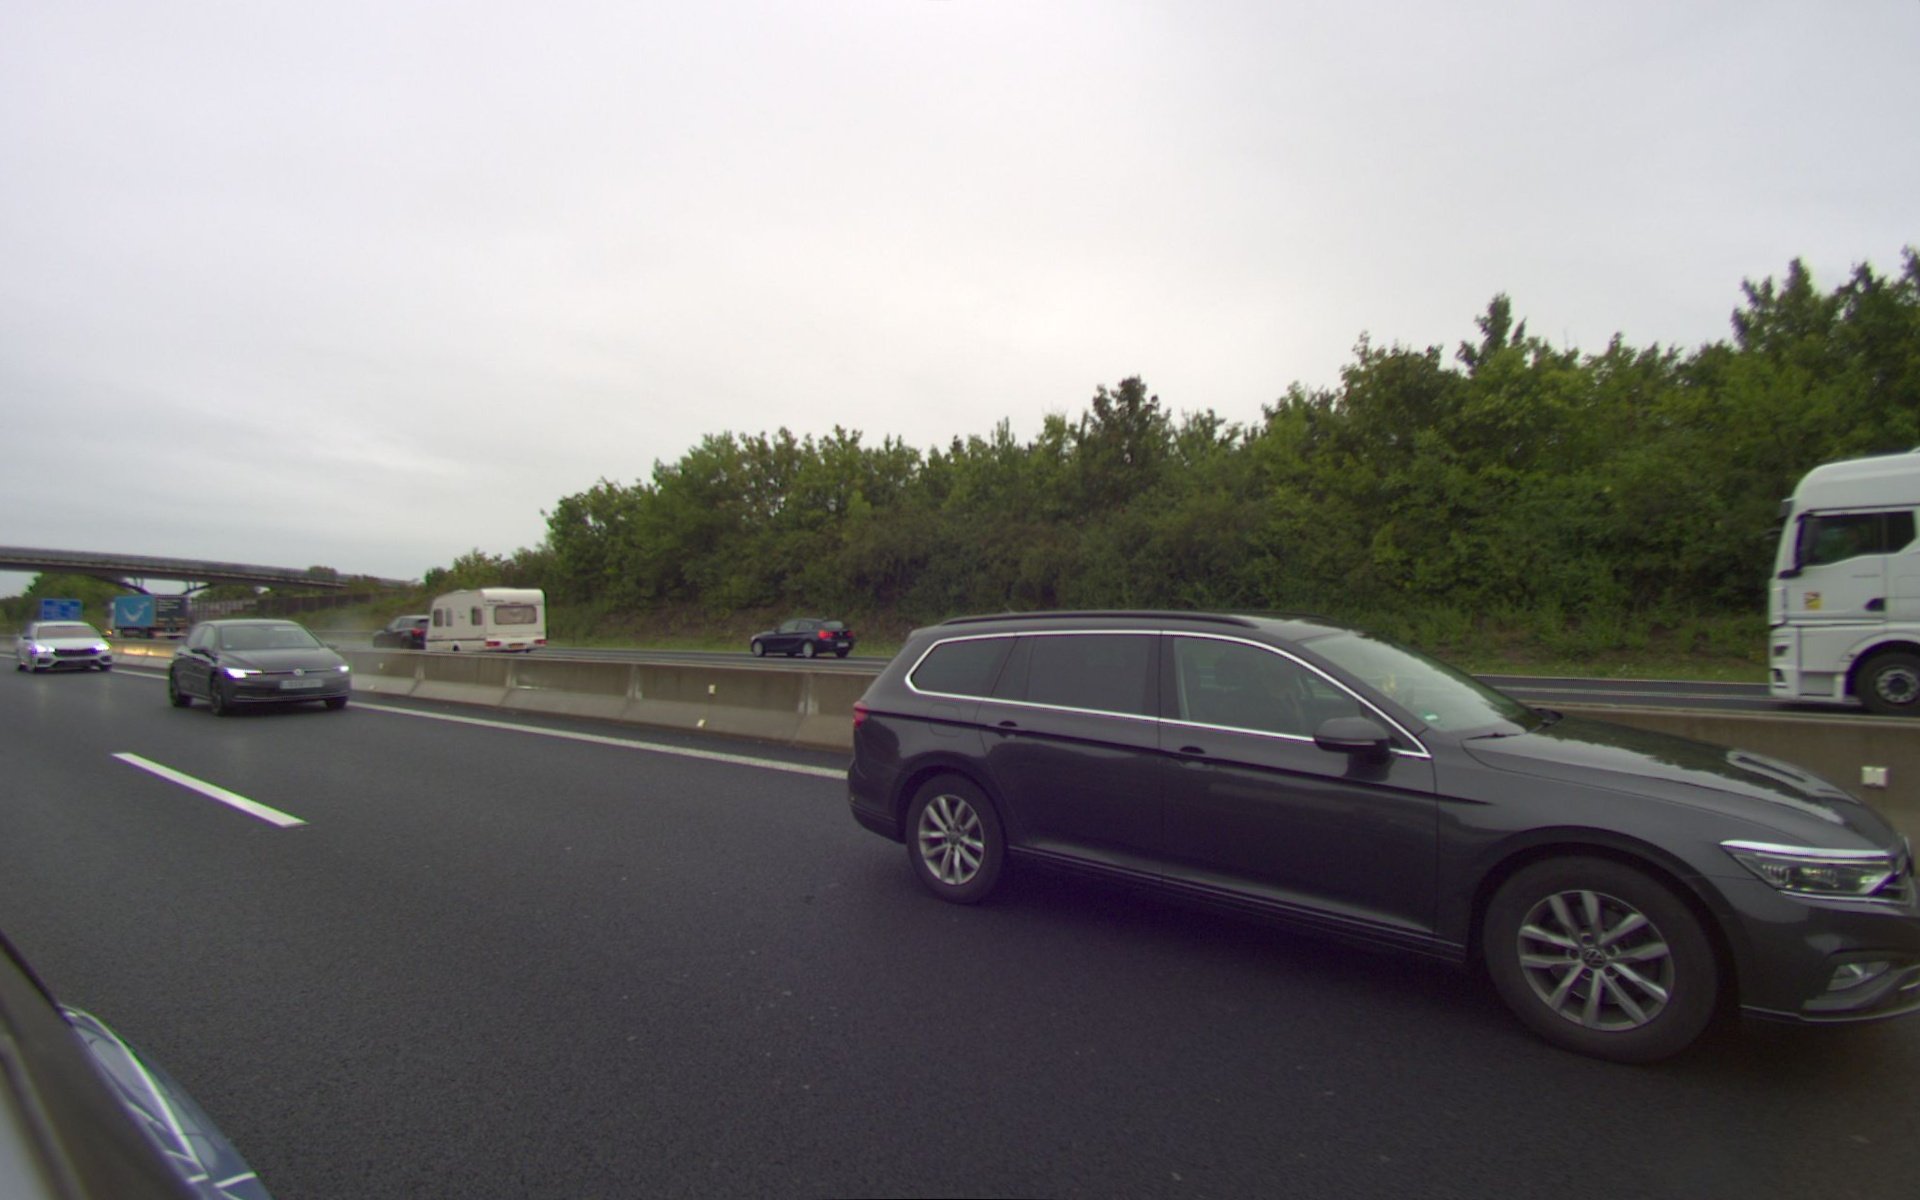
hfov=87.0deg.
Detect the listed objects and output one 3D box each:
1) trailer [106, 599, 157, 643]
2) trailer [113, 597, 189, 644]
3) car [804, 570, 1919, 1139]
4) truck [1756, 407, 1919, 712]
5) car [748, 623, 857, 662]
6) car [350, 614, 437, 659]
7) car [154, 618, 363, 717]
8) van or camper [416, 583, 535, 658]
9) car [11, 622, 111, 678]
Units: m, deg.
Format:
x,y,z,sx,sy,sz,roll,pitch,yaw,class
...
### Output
x,y,z,sx,sy,sz,roll,pitch,yaw,class
-80.711,2.062,98.574,6.036,4.114,2.762,-1,-2,39,trailer
-75.426,1.939,94.211,13.512,4.114,2.762,-1,-1,39,trailer
1.555,0.720,4.810,4.849,1.508,1.881,-1,-1,41,car
15.507,-0.576,13.516,7.438,4.114,3.225,-1,-2,42,truck
-5.596,1.474,35.778,3.920,1.304,1.671,-1,-1,40,car
-21.991,1.398,39.228,4.385,1.632,1.512,-1,-2,41,car
-11.705,1.029,16.780,4.458,1.416,1.880,-1,-1,42,car
-17.323,0.733,36.041,5.544,2.488,1.776,-1,-2,41,van or camper
-26.517,1.408,29.813,4.115,1.518,1.879,-1,-2,44,car
